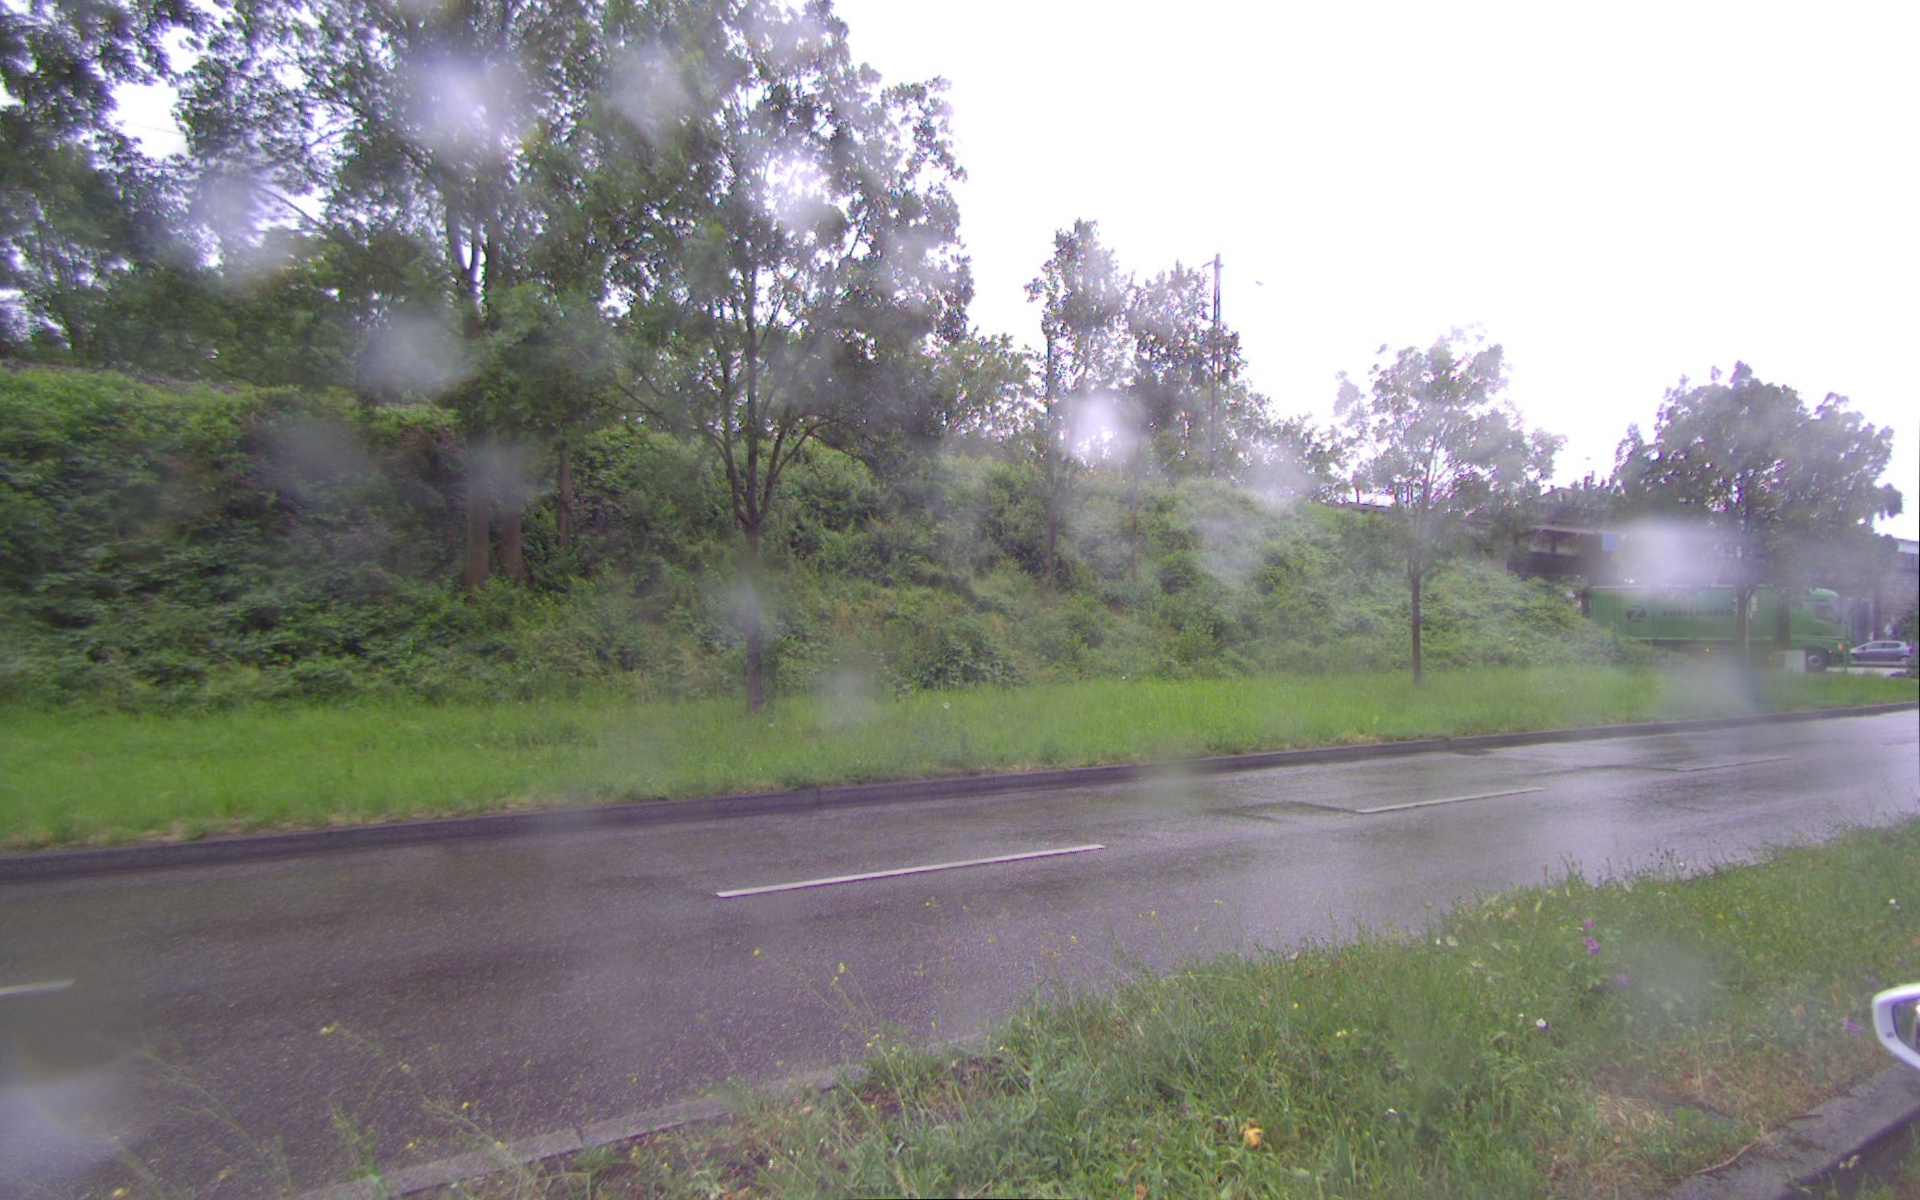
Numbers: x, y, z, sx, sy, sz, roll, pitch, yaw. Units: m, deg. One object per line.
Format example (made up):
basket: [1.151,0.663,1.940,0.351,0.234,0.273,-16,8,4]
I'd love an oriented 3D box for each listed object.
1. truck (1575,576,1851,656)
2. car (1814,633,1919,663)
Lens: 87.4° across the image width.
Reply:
truck: [34.249,0.683,46.282,9.872,3.416,2.346,0,-1,25]
car: [54.820,2.886,60.541,4.795,1.741,1.810,-1,-1,29]
